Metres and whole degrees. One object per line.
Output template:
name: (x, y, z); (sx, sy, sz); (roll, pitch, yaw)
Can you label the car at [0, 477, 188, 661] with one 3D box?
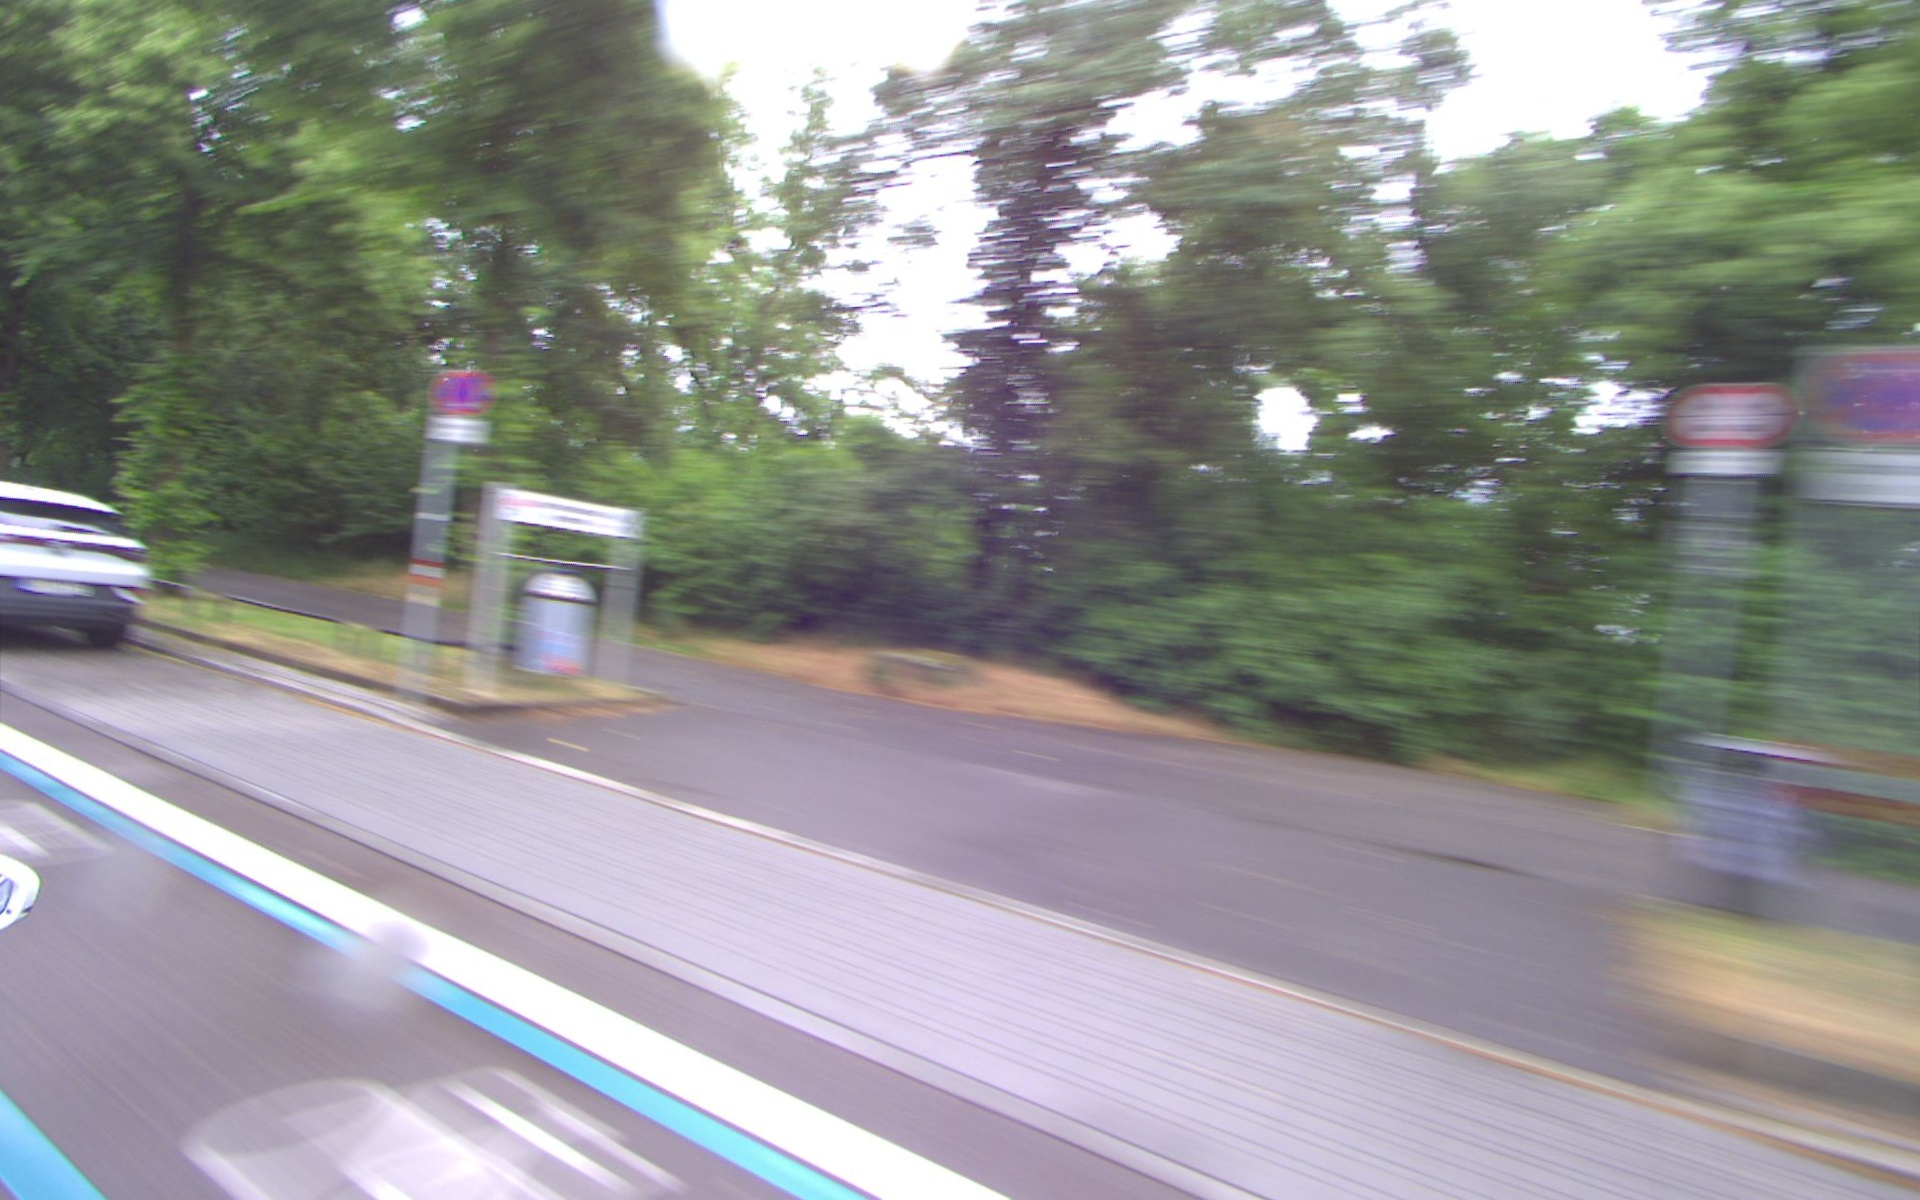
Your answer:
car: (-10.673, -0.496, 10.984); (4.487, 1.682, 1.996); (7, -1, 32)
